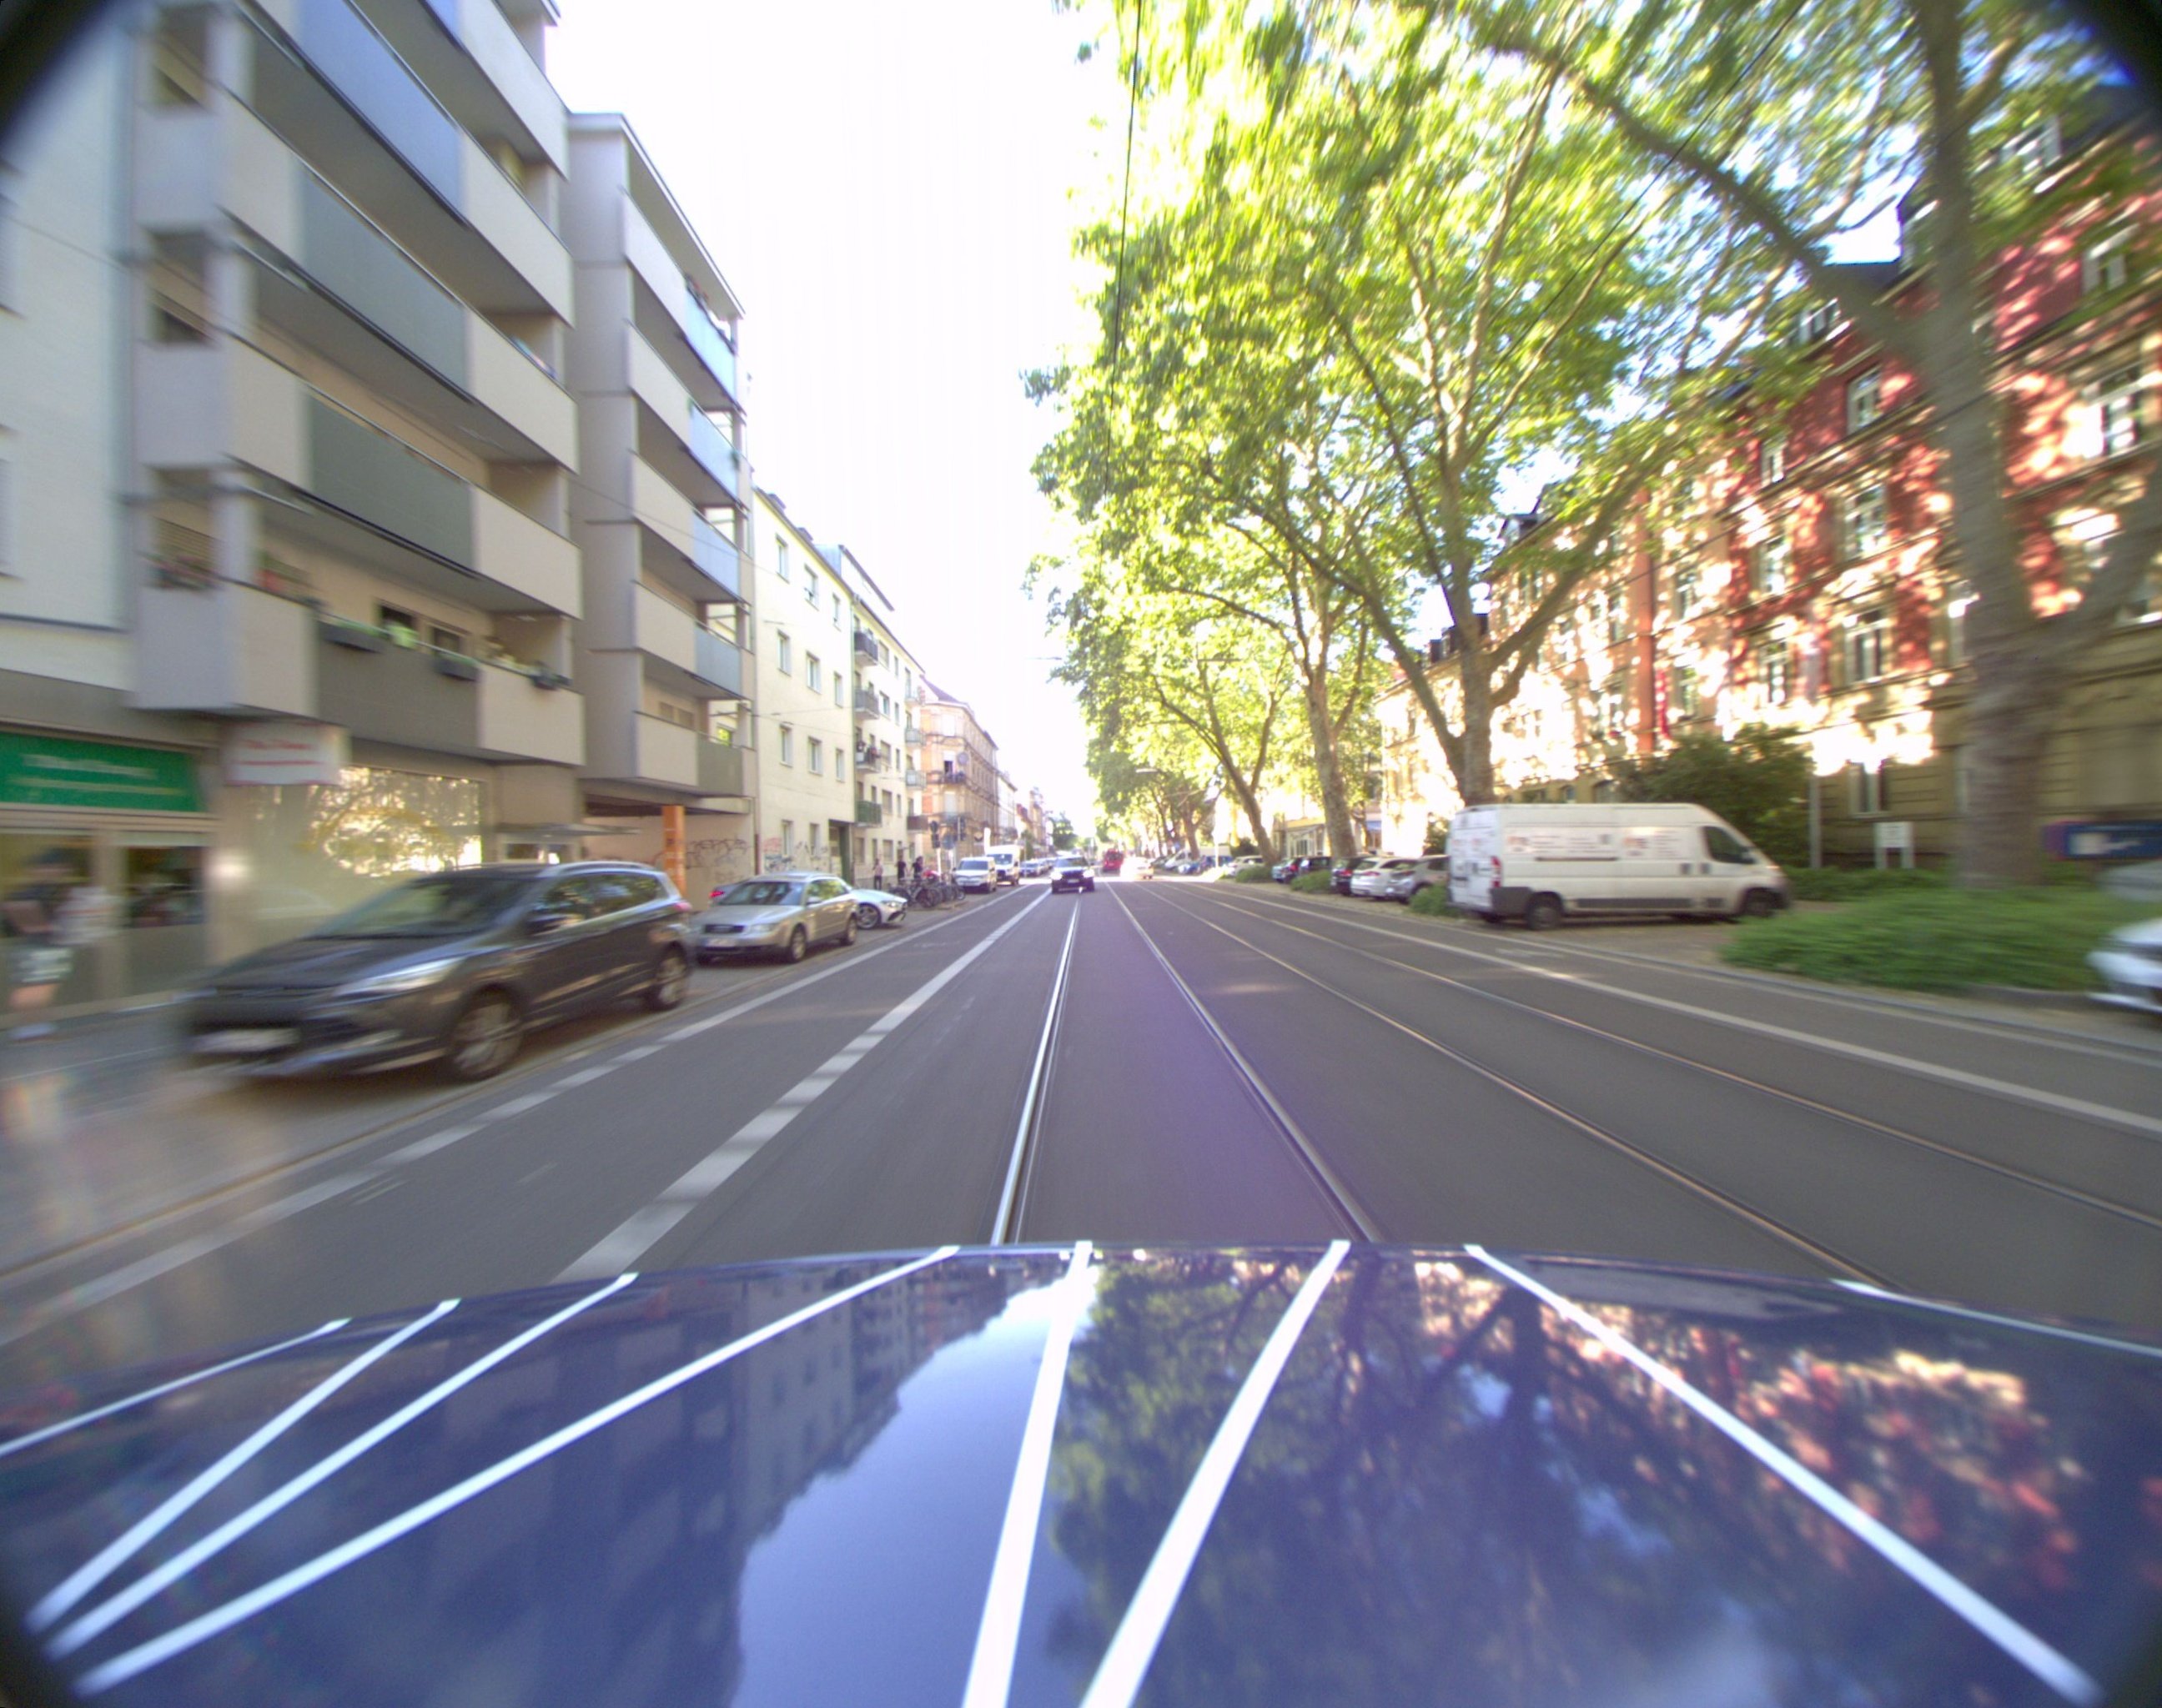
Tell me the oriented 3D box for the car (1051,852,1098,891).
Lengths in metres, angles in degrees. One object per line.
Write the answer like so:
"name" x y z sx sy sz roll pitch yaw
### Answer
"car" -0.226 0.845 36.614 1.948 1.694 4.632 -2 -1 3

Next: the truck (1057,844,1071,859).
"truck" -3.818 -0.661 173.094 2.842 3.145 7.291 -3 1 0

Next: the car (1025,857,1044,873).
"car" -4.594 1.080 76.001 1.606 1.412 4.013 1 1 1

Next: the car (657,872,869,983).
"car" -5.423 1.159 13.687 1.728 1.516 4.513 -1 0 2

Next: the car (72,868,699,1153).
"car" -5.494 1.033 6.975 1.771 1.695 4.282 -1 0 0

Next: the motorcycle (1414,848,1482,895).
"motorcycle" 13.717 0.622 28.545 1.054 1.622 3.011 -3 1 1

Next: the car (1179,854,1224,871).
"car" 11.092 0.768 70.009 3.779 1.509 1.747 -1 0 -3

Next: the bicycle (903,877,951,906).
"bicycle" -5.584 1.348 27.609 1.657 1.015 0.457 1 1 1

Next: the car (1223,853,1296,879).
"car" 10.794 0.734 46.075 3.997 1.452 1.879 -1 0 0

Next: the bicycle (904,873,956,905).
"bicycle" -5.597 1.295 28.250 1.798 1.141 0.704 1 1 1

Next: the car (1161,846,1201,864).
"car" 12.055 0.123 91.735 4.637 1.896 1.923 -3 0 4

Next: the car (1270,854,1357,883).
"car" 11.947 0.741 39.190 3.999 1.361 1.604 -1 0 -5

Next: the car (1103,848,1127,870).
"car" 3.479 0.485 78.470 1.923 2.214 4.958 -1 0 -3

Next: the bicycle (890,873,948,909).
"bicycle" -5.575 1.276 26.152 1.897 1.184 0.457 1 1 1

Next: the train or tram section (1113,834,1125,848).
"train or tram section" 9.924 -3.413 200.542 2.944 3.598 11.062 -3 1 2

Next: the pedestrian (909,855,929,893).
"pedestrian" -7.882 0.949 37.010 0.711 1.812 1.082 0 1 3

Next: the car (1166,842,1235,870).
"car" 12.061 0.213 77.215 6.618 2.393 2.000 -3 0 1

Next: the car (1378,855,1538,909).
"car" 10.934 0.788 22.215 3.817 1.424 1.704 -1 0 3

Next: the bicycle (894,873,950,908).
"bicycle" -5.568 1.276 26.635 1.828 1.184 0.457 1 1 1

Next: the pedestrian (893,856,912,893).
"pedestrian" -8.724 0.992 37.203 0.626 1.812 1.082 0 1 3

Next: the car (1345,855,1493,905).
"car" 10.941 0.818 24.791 3.996 1.487 1.830 -1 0 1

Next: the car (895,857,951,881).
"car" -11.776 1.126 56.802 3.658 1.565 1.790 -2 1 3

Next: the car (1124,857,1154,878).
"car" 3.989 0.896 52.849 1.722 1.351 4.469 -1 0 -1

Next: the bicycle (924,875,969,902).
"bicycle" -5.337 1.375 30.179 1.657 1.049 0.457 1 1 1

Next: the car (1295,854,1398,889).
"car" 11.766 0.764 33.854 3.996 1.452 1.704 -1 0 3

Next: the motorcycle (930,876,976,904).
"motorcycle" -5.244 1.478 31.098 1.820 1.074 0.618 0 1 24

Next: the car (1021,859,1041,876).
"car" -4.583 1.215 70.132 1.653 1.412 4.059 1 1 -1

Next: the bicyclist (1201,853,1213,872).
"bicyclist" 10.099 0.664 60.870 0.868 1.517 0.737 -1 0 5

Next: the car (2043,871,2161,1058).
"car" 10.418 0.804 5.498 4.421 1.376 1.933 -2 0 1

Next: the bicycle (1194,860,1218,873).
"bicycle" 9.994 0.991 60.882 1.874 1.025 0.629 -1 0 5

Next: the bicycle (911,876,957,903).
"bicycle" -5.615 1.347 29.012 1.657 0.981 0.457 1 1 1

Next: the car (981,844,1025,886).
"car" -4.971 0.635 49.283 2.154 2.481 6.088 -1 0 0

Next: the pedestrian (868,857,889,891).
"pedestrian" -9.922 0.983 37.262 0.633 1.571 0.933 4 1 2

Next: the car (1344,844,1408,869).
"car" 24.194 0.210 62.473 4.580 1.870 2.129 -1 3 9

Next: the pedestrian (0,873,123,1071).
"pedestrian" -9.713 1.050 7.121 0.756 1.710 0.721 -1 1 25

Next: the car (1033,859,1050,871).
"car" -4.301 1.195 82.562 1.653 1.265 3.724 1 1 0

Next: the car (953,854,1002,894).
"car" -5.215 0.972 38.886 1.863 1.810 4.350 2 1 0

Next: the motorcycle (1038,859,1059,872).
"motorcycle" -3.427 1.202 79.732 2.143 1.281 0.642 -2 1 -21

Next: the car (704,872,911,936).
"car" -6.659 1.198 19.021 4.629 1.429 1.863 0 0 -10

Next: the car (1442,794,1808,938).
"car" 10.701 0.241 15.327 5.755 2.521 2.162 -2 0 1

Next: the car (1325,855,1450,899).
"car" 10.895 0.793 27.203 3.802 1.452 1.704 -1 0 2

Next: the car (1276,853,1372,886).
"car" 11.679 0.734 36.582 4.000 1.452 1.769 -1 0 -8

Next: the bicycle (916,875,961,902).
"bicycle" -5.542 1.339 29.636 1.657 0.981 0.457 1 1 1

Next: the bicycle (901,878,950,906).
"bicycle" -5.551 1.353 27.120 1.657 0.960 0.457 1 1 1

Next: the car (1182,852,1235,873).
"car" 11.336 0.755 67.817 4.331 1.702 1.816 -1 0 -3
